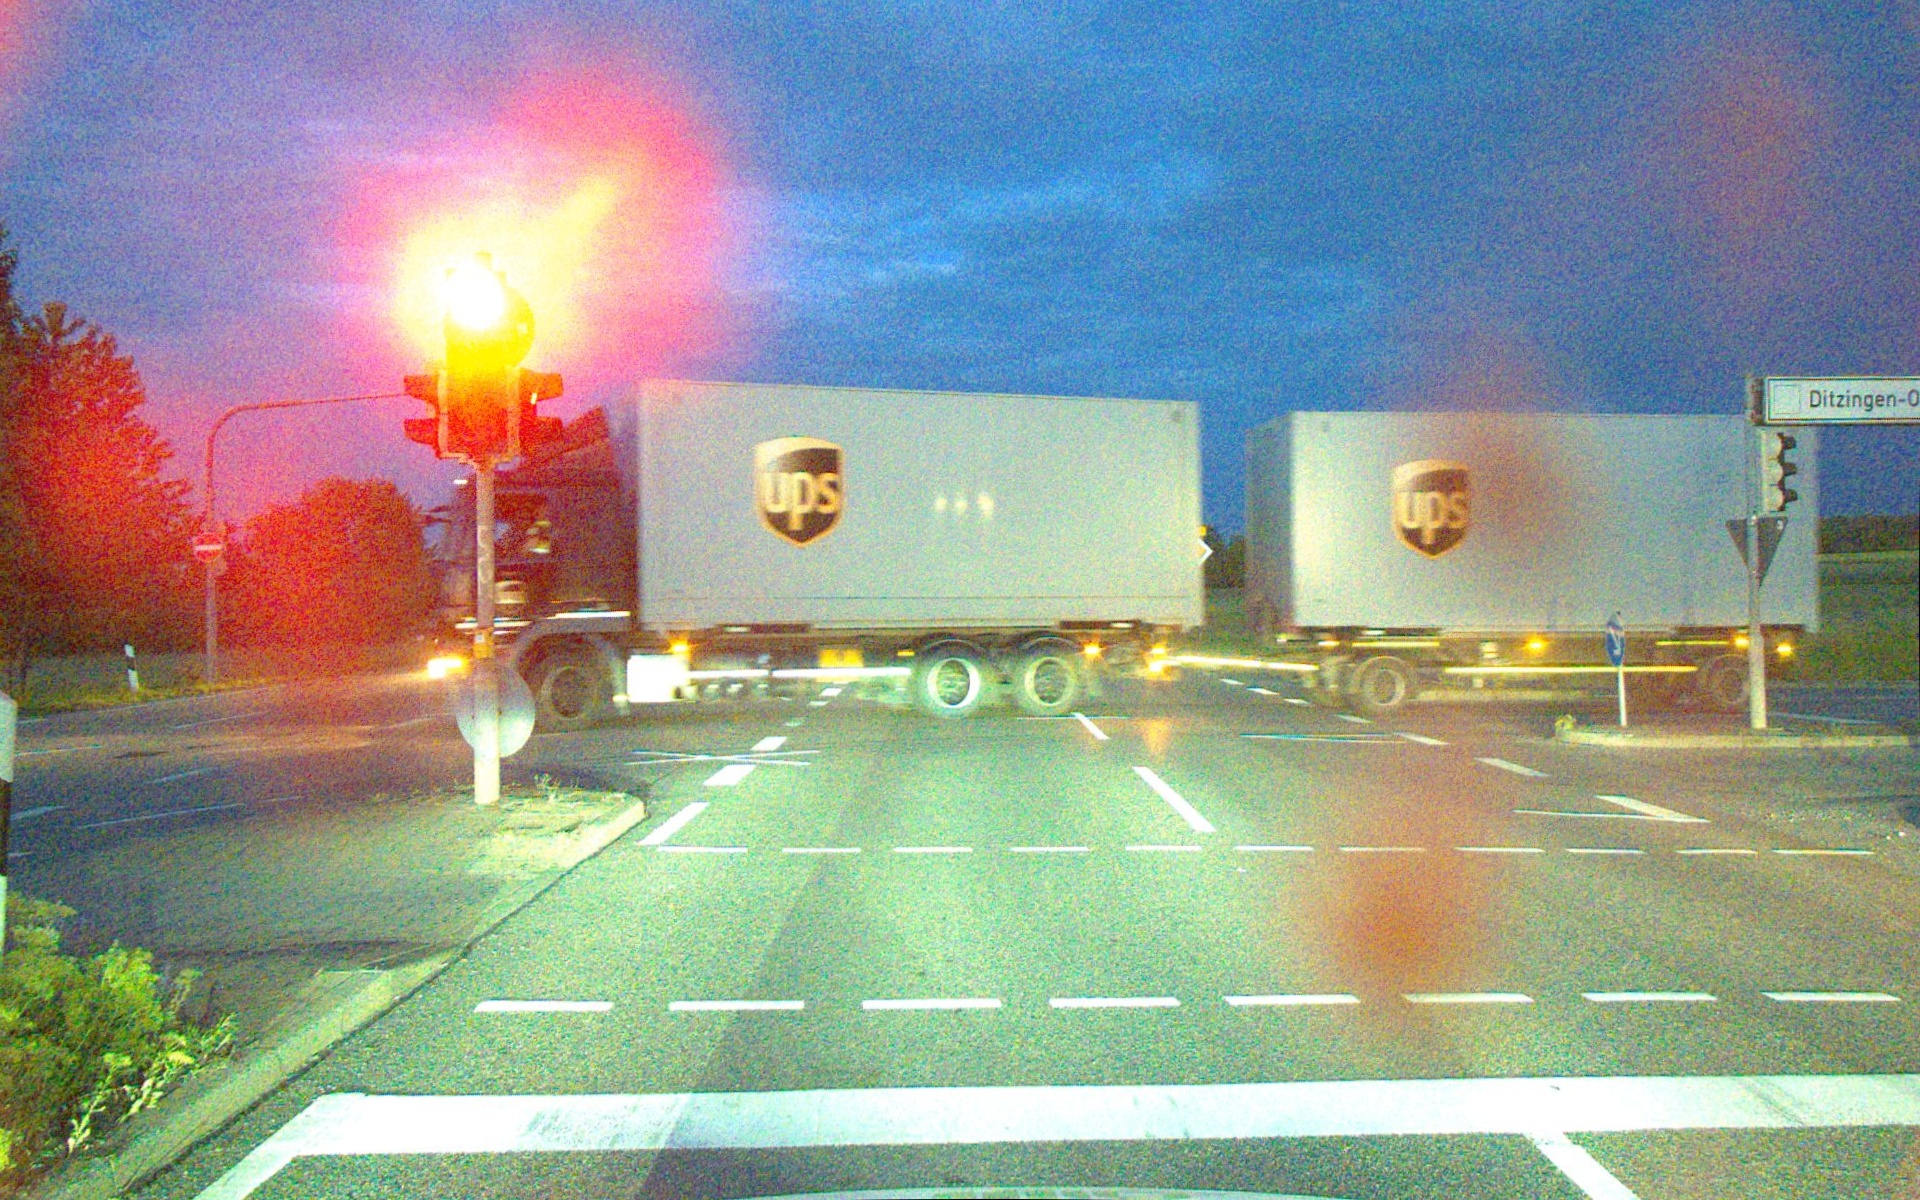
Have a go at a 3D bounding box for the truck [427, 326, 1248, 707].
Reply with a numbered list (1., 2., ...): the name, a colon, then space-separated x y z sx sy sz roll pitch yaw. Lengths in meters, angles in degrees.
1. truck: -1.472 -0.928 21.160 10.156 4.189 2.719 0 0 -19

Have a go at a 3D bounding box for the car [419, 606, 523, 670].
1. car: -12.737 0.965 43.273 1.596 1.400 3.589 -5 1 -1

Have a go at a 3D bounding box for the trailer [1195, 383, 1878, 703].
1. trailer: 7.889 -0.790 23.186 8.675 4.012 2.583 -2 0 -5
